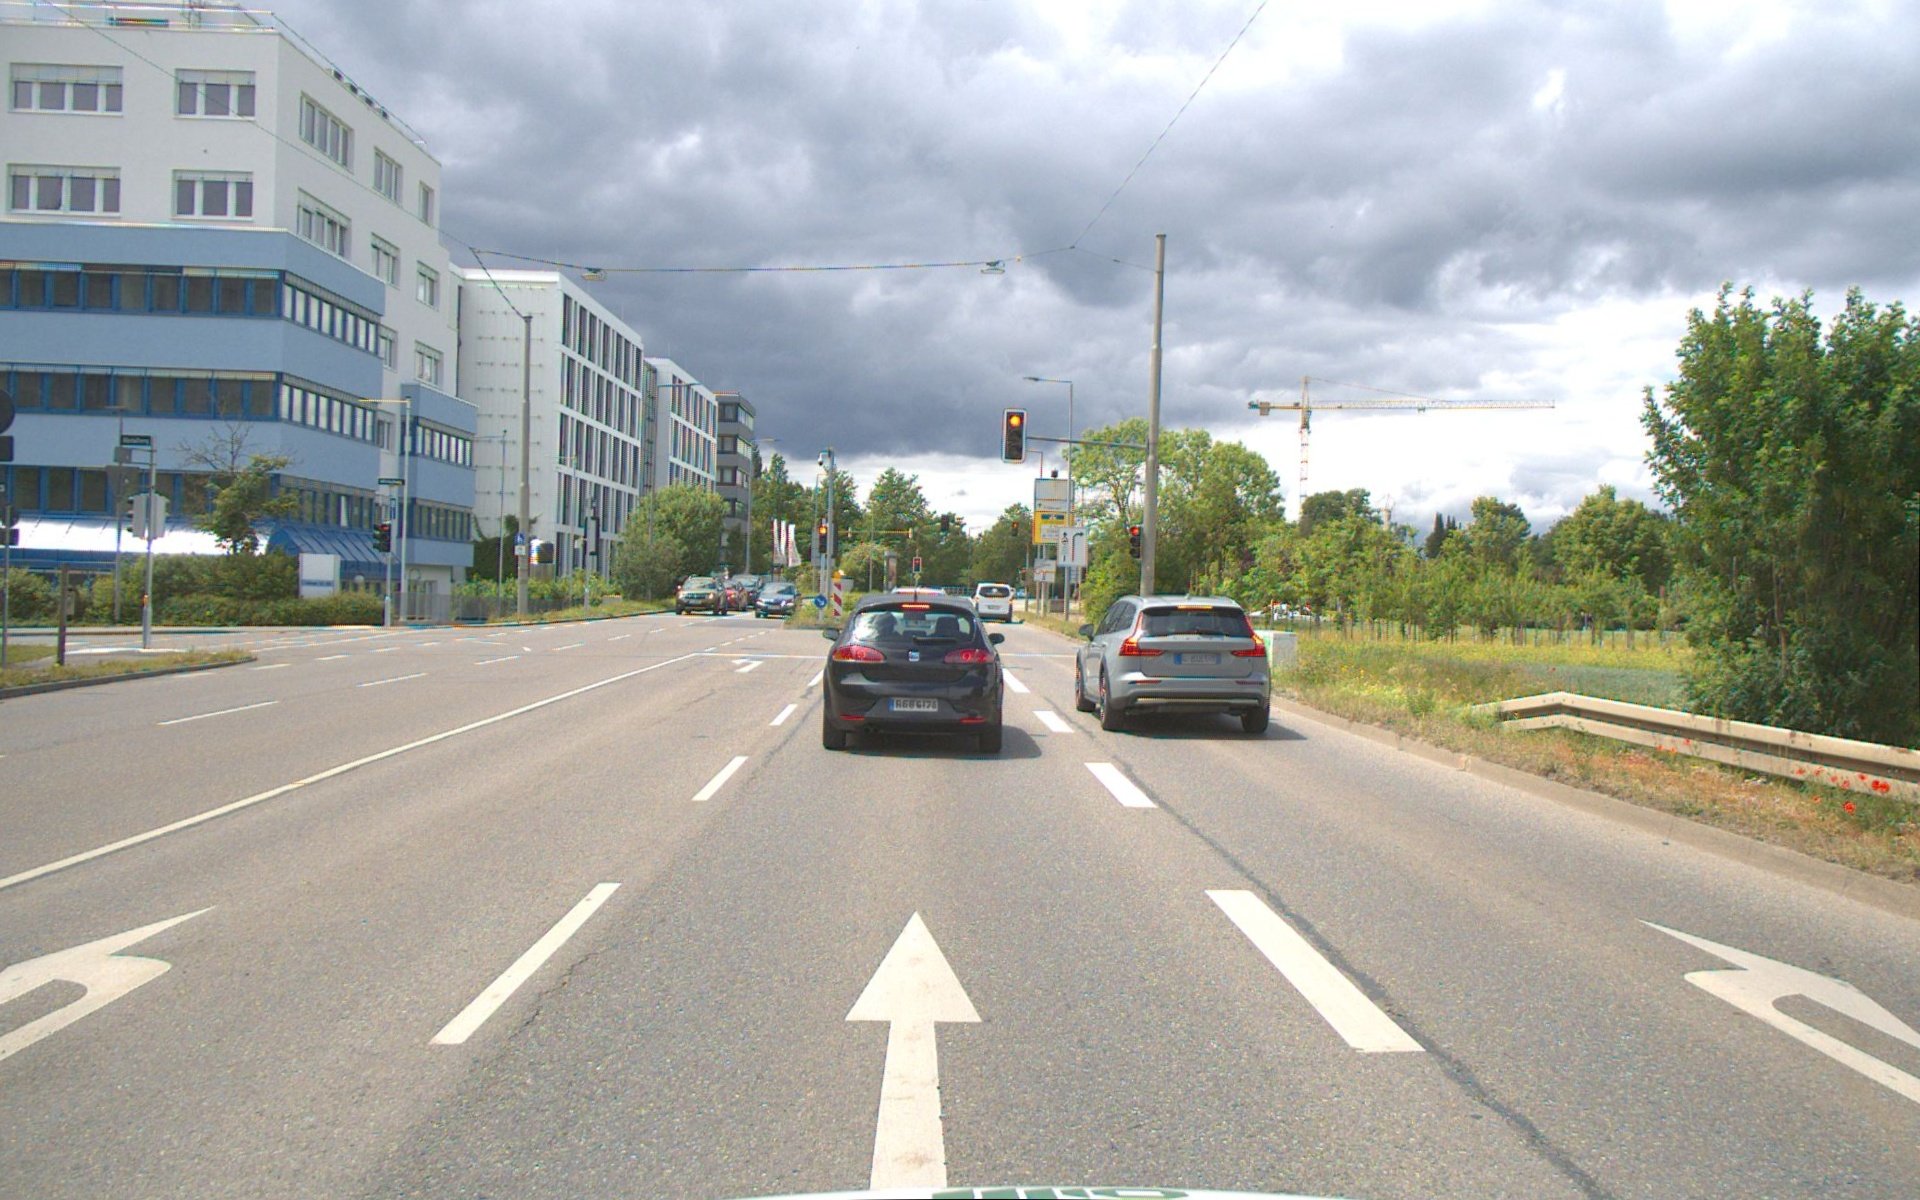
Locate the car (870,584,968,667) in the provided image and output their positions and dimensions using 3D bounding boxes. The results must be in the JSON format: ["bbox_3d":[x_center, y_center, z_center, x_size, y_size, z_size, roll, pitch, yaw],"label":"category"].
[{"bbox_3d":[-0.923,0.498,35.942,1.944,1.618,4.224,2,1,-2],"label":"car"}]

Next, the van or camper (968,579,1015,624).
[{"bbox_3d":[1.514,0.102,81.282,1.862,1.960,3.995,1,-4,-5],"label":"van or camper"}]

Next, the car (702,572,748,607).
[{"bbox_3d":[-11.263,-0.484,79.534,1.740,1.640,3.998,1,0,-2],"label":"car"}]

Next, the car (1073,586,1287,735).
[{"bbox_3d":[2.449,0.635,19.461,1.918,1.552,4.339,0,0,0],"label":"car"}]

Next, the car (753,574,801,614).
[{"bbox_3d":[-7.540,-0.265,68.500,1.635,1.551,4.007,-1,2,-2],"label":"car"}]

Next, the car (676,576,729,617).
[{"bbox_3d":[-10.788,-0.164,69.453,1.716,1.659,3.999,0,0,-2],"label":"car"}]

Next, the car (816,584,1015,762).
[{"bbox_3d":[-0.342,0.658,16.759,1.712,1.509,4.001,3,0,2],"label":"car"}]
